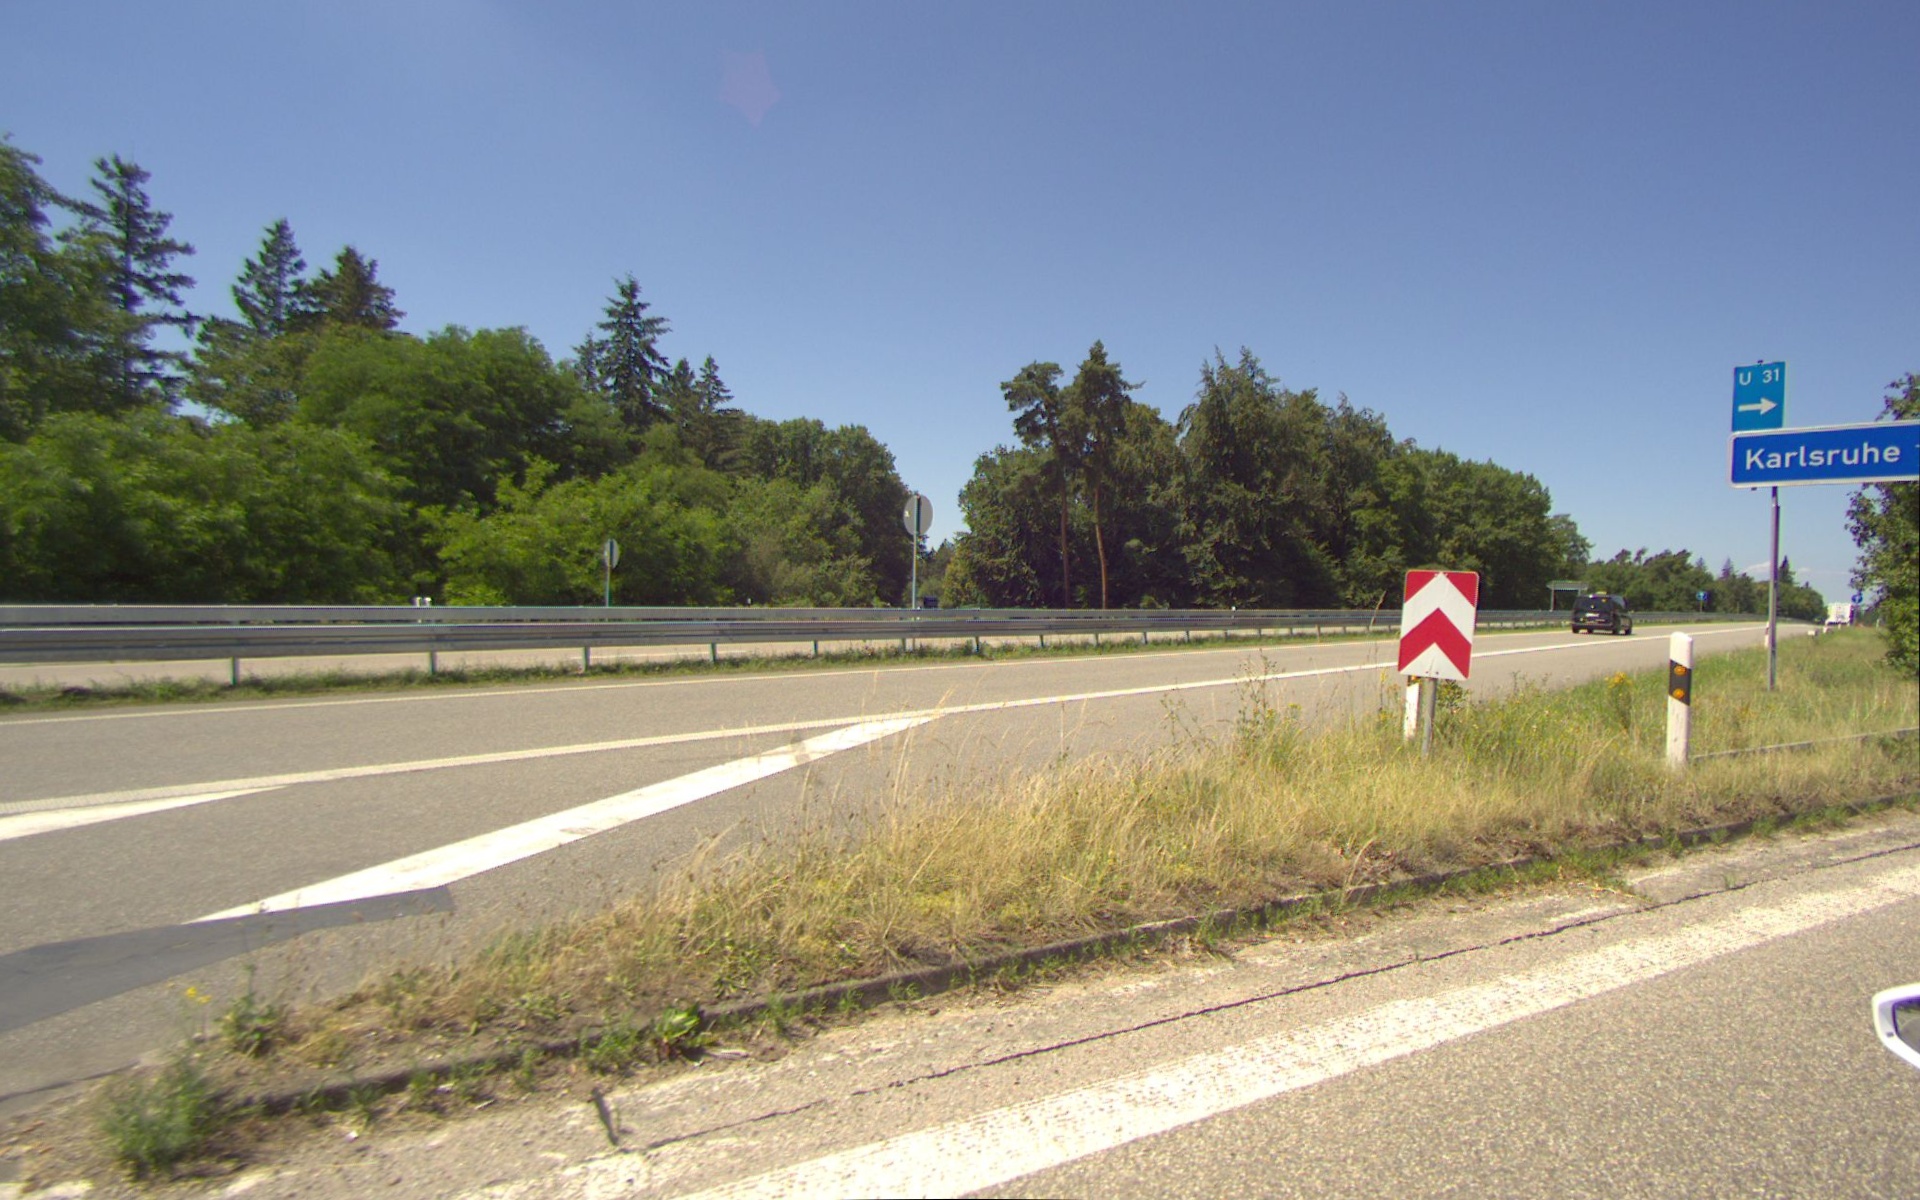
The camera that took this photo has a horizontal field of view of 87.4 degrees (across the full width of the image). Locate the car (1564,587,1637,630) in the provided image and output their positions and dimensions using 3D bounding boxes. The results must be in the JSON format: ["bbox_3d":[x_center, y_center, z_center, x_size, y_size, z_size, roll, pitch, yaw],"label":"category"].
[{"bbox_3d":[30.136,0.411,47.184,1.835,1.912,5.539,0,0,44],"label":"car"}]

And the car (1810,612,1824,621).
[{"bbox_3d":[160.559,3.056,188.201,1.694,1.491,3.552,4,2,44],"label":"car"}]

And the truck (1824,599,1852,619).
[{"bbox_3d":[119.955,1.247,137.212,2.590,2.677,7.622,1,0,43],"label":"truck"}]
